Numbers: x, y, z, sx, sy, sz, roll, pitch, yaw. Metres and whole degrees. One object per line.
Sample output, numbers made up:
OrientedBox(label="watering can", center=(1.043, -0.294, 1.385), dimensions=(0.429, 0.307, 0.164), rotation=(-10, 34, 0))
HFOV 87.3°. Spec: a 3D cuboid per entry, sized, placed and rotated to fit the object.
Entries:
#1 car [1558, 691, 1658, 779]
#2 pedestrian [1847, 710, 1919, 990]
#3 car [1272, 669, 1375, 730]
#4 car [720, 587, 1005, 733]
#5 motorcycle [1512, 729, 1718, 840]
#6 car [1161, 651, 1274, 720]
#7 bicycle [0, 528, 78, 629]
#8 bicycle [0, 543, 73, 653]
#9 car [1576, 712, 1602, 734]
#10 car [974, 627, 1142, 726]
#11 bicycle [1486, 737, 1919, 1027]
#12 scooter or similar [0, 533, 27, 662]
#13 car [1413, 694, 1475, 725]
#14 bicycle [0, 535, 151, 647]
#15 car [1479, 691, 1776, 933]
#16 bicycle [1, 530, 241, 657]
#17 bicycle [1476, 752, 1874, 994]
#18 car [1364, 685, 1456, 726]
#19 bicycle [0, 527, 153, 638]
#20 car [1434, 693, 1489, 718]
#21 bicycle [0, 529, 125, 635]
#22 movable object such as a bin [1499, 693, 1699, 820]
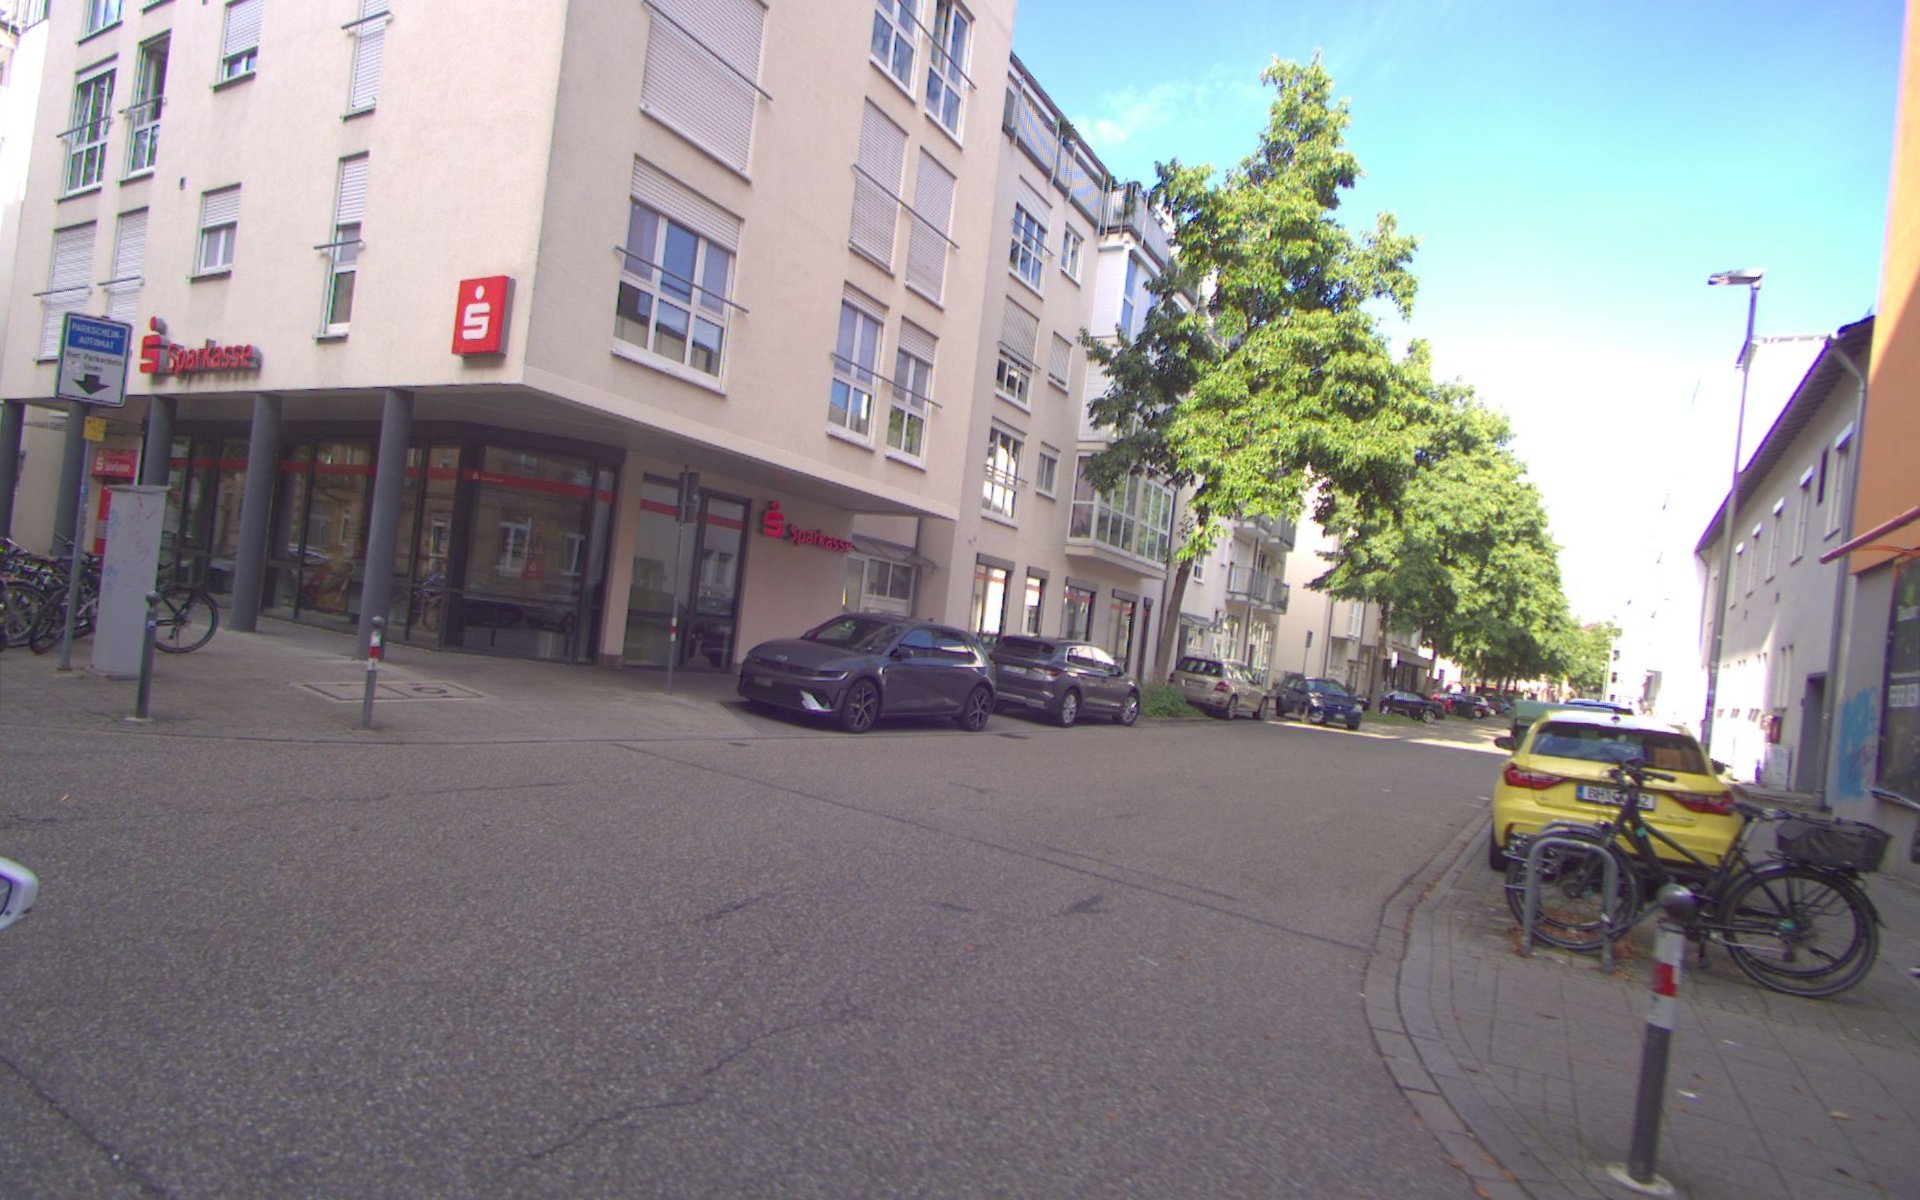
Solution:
OrientedBox(label="car", center=(14.620, 2.995, 22.684), dimensions=(1.608, 1.587, 3.891), rotation=(6, -2, 34))
OrientedBox(label="pedestrian", center=(6.124, 1.537, 6.097), dimensions=(0.812, 1.608, 0.780), rotation=(6, 0, 27))
OrientedBox(label="car", center=(11.402, 3.098, 31.838), dimensions=(1.770, 1.497, 3.850), rotation=(6, -2, 1))
OrientedBox(label="car", center=(-1.250, 0.936, 14.931), dimensions=(1.778, 1.650, 4.369), rotation=(8, 0, 32))
OrientedBox(label="motorcycle", center=(8.417, 2.350, 13.046), dimensions=(2.081, 1.015, 0.659), rotation=(6, -1, 25))
OrientedBox(label="car", center=(7.501, 2.473, 29.040), dimensions=(1.775, 1.621, 3.981), rotation=(8, 0, 34))
OrientedBox(label="bicycle", center=(-11.336, -0.259, 11.637), dimensions=(0.403, 1.161, 1.771), rotation=(6, 1, 11))
OrientedBox(label="bicycle", center=(-9.715, -0.042, 9.631), dimensions=(0.404, 1.070, 1.769), rotation=(7, 1, 26))
OrientedBox(label="car", center=(49.484, 9.686, 79.119), dimensions=(1.493, 1.417, 3.452), rotation=(6, -3, 34))
OrientedBox(label="car", center=(2.029, 1.546, 19.916), dimensions=(1.615, 1.586, 3.608), rotation=(8, 0, 34))
OrientedBox(label="bicycle", center=(4.176, 1.534, 5.784), dimensions=(1.898, 1.205, 0.535), rotation=(5, -1, 22))
OrientedBox(label="scooter or similar", center=(-9.327, -0.072, 9.094), dimensions=(1.195, 1.163, 0.376), rotation=(5, 3, -28))
OrientedBox(label="car", center=(29.669, 6.684, 61.657), dimensions=(3.206, 1.450, 1.452), rotation=(5, -1, 33))
OrientedBox(label="bicycle", center=(-9.823, -0.097, 10.683), dimensions=(0.639, 1.101, 1.766), rotation=(7, 1, 33))
OrientedBox(label="car", center=(5.977, 1.717, 9.295), dimensions=(1.767, 1.518, 3.791), rotation=(5, -2, 31))
OrientedBox(label="bicycle", center=(-8.719, -0.026, 10.530), dimensions=(0.639, 1.177, 1.766), rotation=(7, 1, 33))
OrientedBox(label="bicycle", center=(4.352, 1.636, 6.283), dimensions=(1.892, 1.077, 0.446), rotation=(5, -1, 23))
OrientedBox(label="car", center=(21.254, 4.965, 47.674), dimensions=(3.688, 1.450, 1.591), rotation=(6, -1, 16))
OrientedBox(label="bicycle", center=(-10.241, -0.181, 11.480), dimensions=(0.404, 1.161, 1.496), rotation=(7, 1, 31))
OrientedBox(label="car", center=(33.616, 7.044, 67.456), dimensions=(2.960, 1.270, 1.290), rotation=(6, -1, 13))
OrientedBox(label="bicycle", center=(-10.800, -0.204, 11.576), dimensions=(0.404, 1.161, 1.769), rotation=(7, 1, 25))
OrientedBox(label="movable object such as a bin", center=(9.043, 2.177, 14.396), dimensions=(2.158, 1.473, 1.315), rotation=(4, -3, 24))
